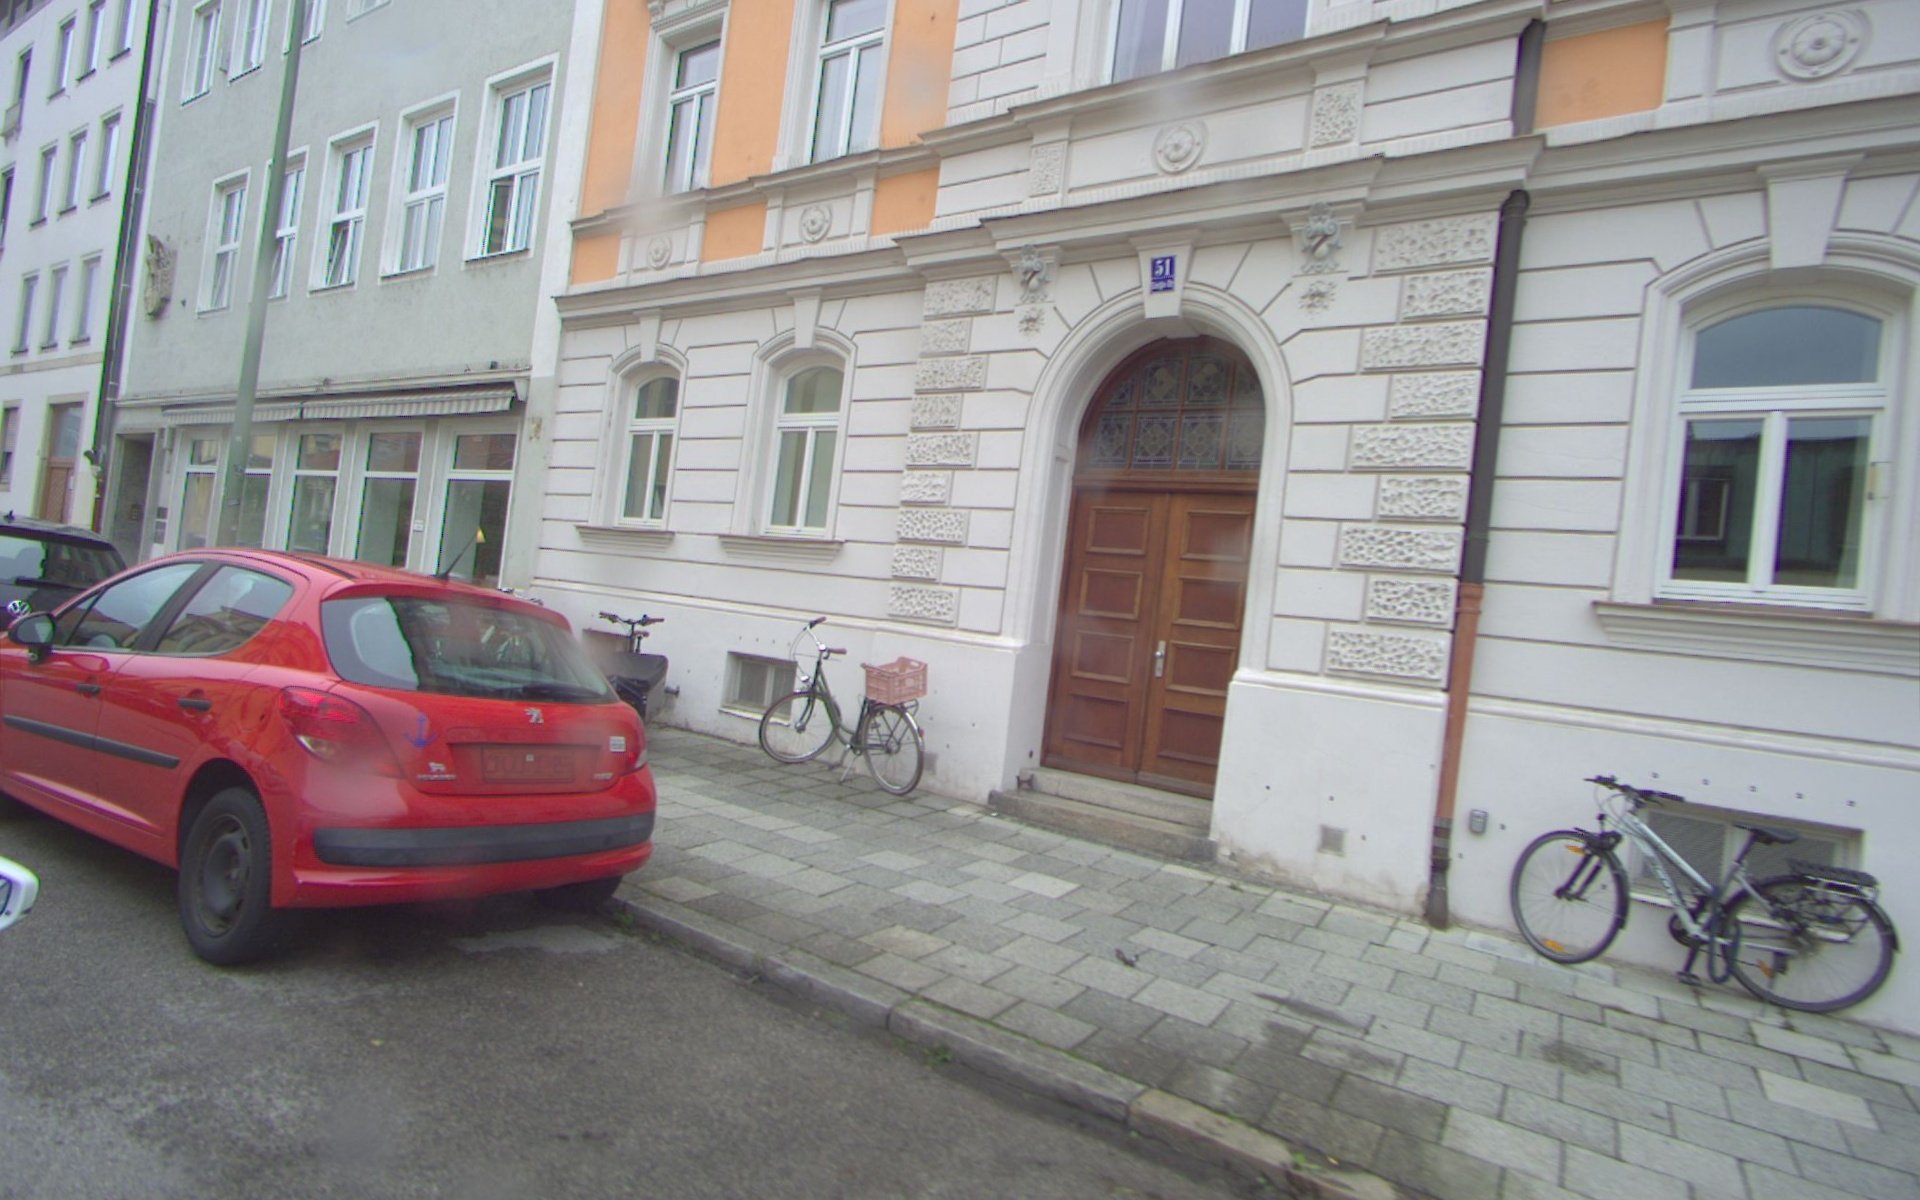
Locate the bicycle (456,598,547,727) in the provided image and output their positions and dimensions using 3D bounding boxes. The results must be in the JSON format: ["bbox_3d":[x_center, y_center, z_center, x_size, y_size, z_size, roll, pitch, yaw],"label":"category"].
[{"bbox_3d":[-4.519,0.574,10.006,0.613,1.102,1.806,7,-1,-21],"label":"bicycle"}]

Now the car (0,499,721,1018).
[{"bbox_3d":[-3.371,0.483,4.950,4.077,1.516,1.693,6,-4,31],"label":"car"}]

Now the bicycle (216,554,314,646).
[{"bbox_3d":[-10.357,-0.016,14.965,1.918,1.171,0.385,6,-1,33],"label":"bicycle"}]

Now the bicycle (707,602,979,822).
[{"bbox_3d":[-0.966,0.833,8.011,2.057,1.401,0.597,6,-1,30],"label":"bicycle"}]

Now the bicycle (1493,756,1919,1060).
[{"bbox_3d":[3.775,1.471,5.104,1.787,1.036,0.597,6,-1,30],"label":"bicycle"}]

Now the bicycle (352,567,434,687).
[{"bbox_3d":[-6.521,0.305,11.563,0.901,1.270,0.248,6,-1,29],"label":"bicycle"}]

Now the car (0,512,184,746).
[{"bbox_3d":[-7.644,-0.006,7.433,4.295,1.417,1.690,7,-3,35],"label":"car"}]

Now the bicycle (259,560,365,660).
[{"bbox_3d":[-8.845,0.120,13.698,1.786,1.190,0.396,5,-2,33],"label":"bicycle"}]

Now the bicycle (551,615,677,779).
[{"bbox_3d":[-2.857,0.740,8.504,0.574,1.152,2.089,7,-1,-10],"label":"bicycle"}]

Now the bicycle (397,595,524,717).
[{"bbox_3d":[-5.042,0.536,10.276,0.507,1.080,1.846,7,-1,-8],"label":"bicycle"}]

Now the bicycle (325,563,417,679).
[{"bbox_3d":[-7.161,0.243,12.218,1.213,1.270,0.248,6,-1,29],"label":"bicycle"}]
